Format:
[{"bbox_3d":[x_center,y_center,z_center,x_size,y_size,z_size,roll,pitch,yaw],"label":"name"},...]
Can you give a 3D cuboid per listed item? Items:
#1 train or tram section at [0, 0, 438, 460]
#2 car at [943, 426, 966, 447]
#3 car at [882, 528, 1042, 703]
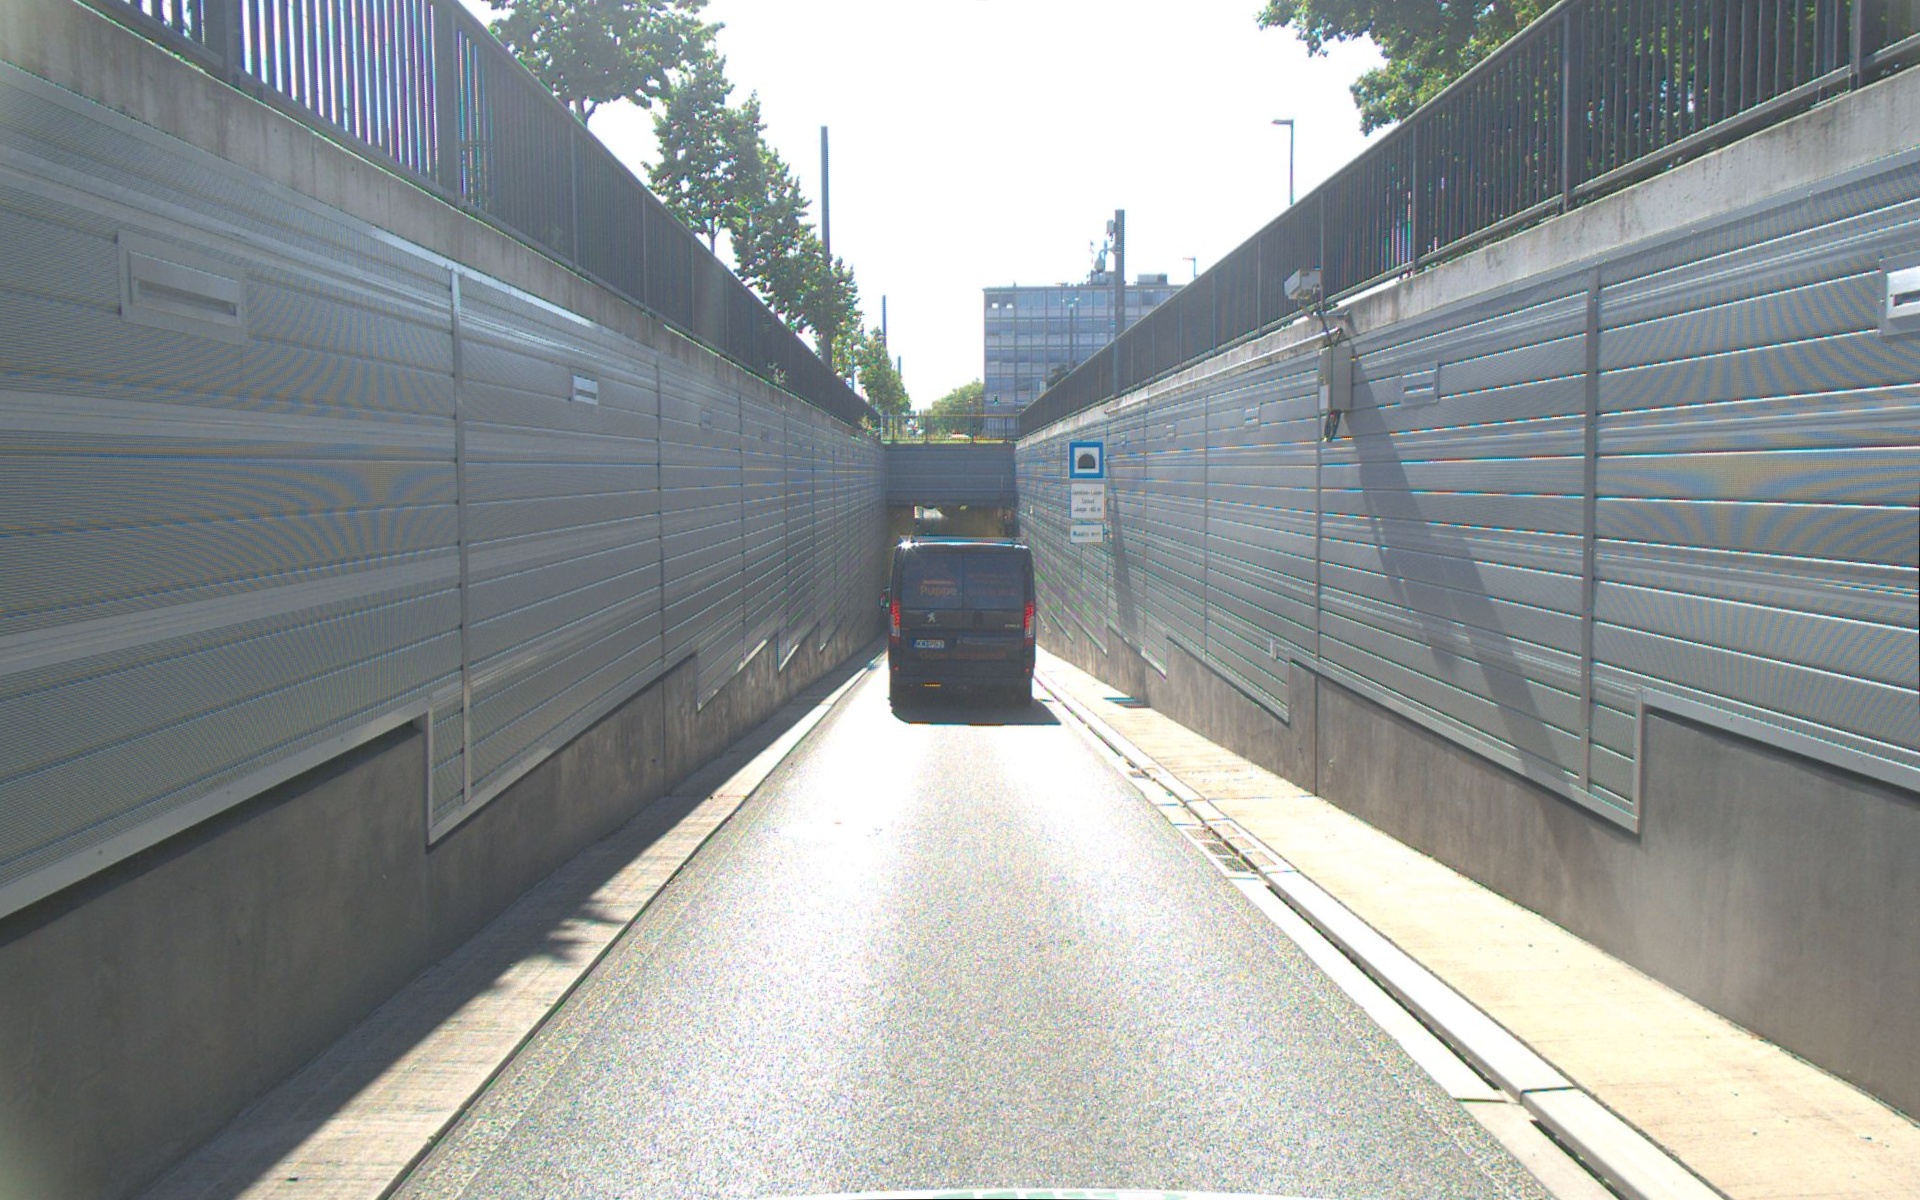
[{"bbox_3d":[-8.922,-3.501,17.682,2.557,3.718,13.346,1,4,-1],"label":"train or tram section"},{"bbox_3d":[-0.470,-13.094,132.449,1.705,1.588,4.001,0,4,-2],"label":"car"},{"bbox_3d":[0.018,0.182,24.152,2.114,2.305,4.636,0,0,0],"label":"car"}]
